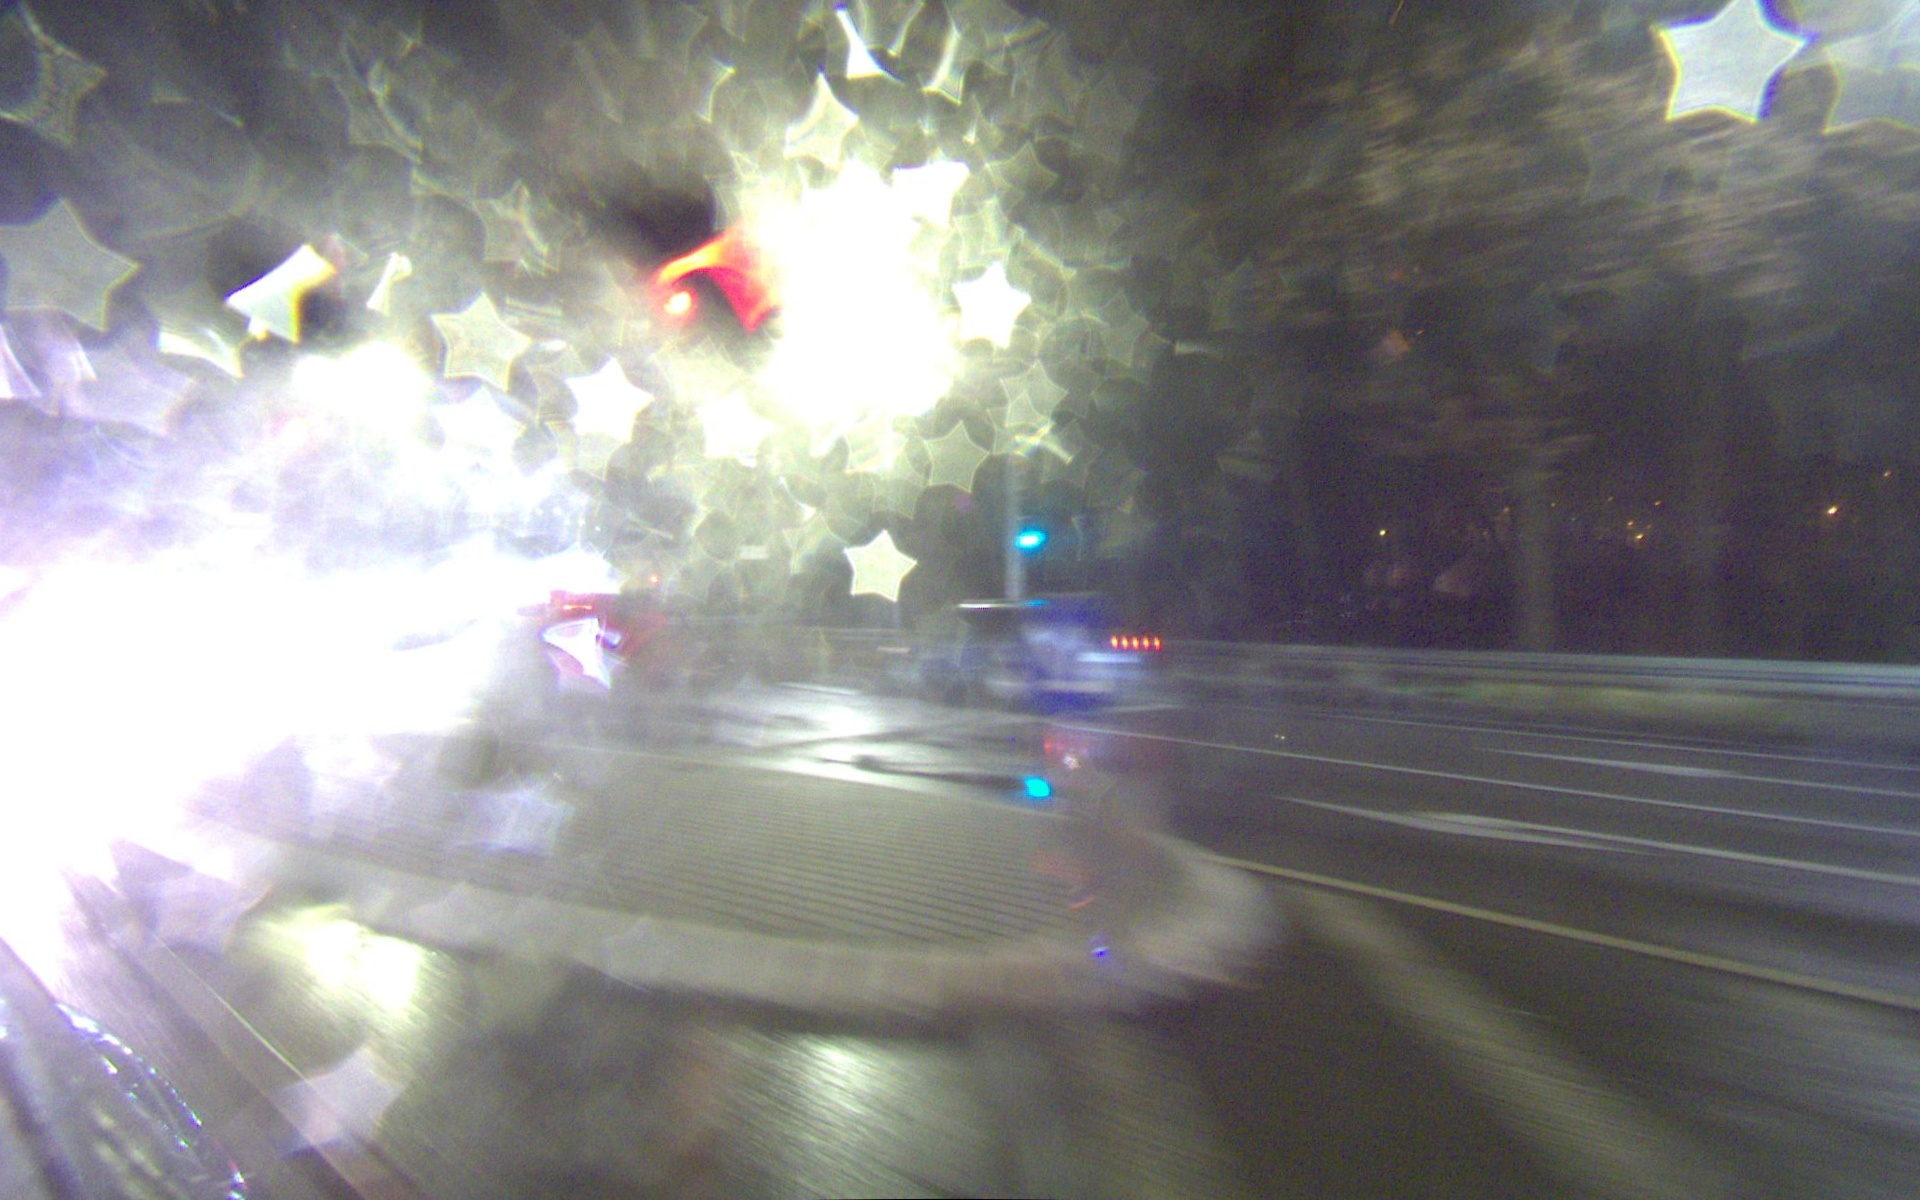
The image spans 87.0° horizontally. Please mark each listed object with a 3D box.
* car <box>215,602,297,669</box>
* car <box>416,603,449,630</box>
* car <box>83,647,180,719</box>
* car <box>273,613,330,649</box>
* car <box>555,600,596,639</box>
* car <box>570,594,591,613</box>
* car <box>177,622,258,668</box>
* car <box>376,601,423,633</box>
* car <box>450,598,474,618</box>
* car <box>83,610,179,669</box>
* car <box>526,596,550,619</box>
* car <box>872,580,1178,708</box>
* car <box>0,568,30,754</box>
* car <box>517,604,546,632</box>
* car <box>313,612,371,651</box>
[{"bbox_3d":[-28.196,1.354,40.665,1.966,2.027,4.015,-6,7,-26],"label":"car"},{"bbox_3d":[-41.523,1.270,79.731,1.838,2.029,4.013,-2,0,-21],"label":"car"},{"bbox_3d":[-20.919,2.048,25.652,1.283,1.541,3.056,-2,0,-28],"label":"car"},{"bbox_3d":[-40.086,1.846,61.712,1.966,2.029,4.013,-2,0,-20],"label":"car"},{"bbox_3d":[-21.302,1.077,56.017,1.965,2.029,4.013,-2,0,-22],"label":"car"},{"bbox_3d":[-42.535,0.433,113.358,1.765,2.029,4.011,-1,0,-15],"label":"car"},{"bbox_3d":[-35.935,2.112,49.095,1.806,2.029,4.011,-2,0,-16],"label":"car"},{"bbox_3d":[-38.023,1.163,68.718,1.839,2.029,4.011,-2,0,-16],"label":"car"},{"bbox_3d":[-52.280,0.887,106.366,1.838,2.029,4.013,-2,0,-21],"label":"car"},{"bbox_3d":[-31.213,1.438,38.223,1.838,2.029,4.013,-2,0,-25],"label":"car"},{"bbox_3d":[-35.741,0.637,85.796,1.714,1.870,4.013,-2,0,-22],"label":"car"},{"bbox_3d":[0.768,0.613,15.276,1.959,1.617,4.844,0,-2,-36],"label":"car"},{"bbox_3d":[-12.504,0.715,11.990,1.969,2.029,4.006,-3,1,-40],"label":"car"},{"bbox_3d":[-30.024,1.265,71.005,1.714,1.870,4.013,-2,0,-22],"label":"car"},{"bbox_3d":[-34.433,1.714,56.491,1.966,2.029,4.013,-2,0,-20],"label":"car"}]
